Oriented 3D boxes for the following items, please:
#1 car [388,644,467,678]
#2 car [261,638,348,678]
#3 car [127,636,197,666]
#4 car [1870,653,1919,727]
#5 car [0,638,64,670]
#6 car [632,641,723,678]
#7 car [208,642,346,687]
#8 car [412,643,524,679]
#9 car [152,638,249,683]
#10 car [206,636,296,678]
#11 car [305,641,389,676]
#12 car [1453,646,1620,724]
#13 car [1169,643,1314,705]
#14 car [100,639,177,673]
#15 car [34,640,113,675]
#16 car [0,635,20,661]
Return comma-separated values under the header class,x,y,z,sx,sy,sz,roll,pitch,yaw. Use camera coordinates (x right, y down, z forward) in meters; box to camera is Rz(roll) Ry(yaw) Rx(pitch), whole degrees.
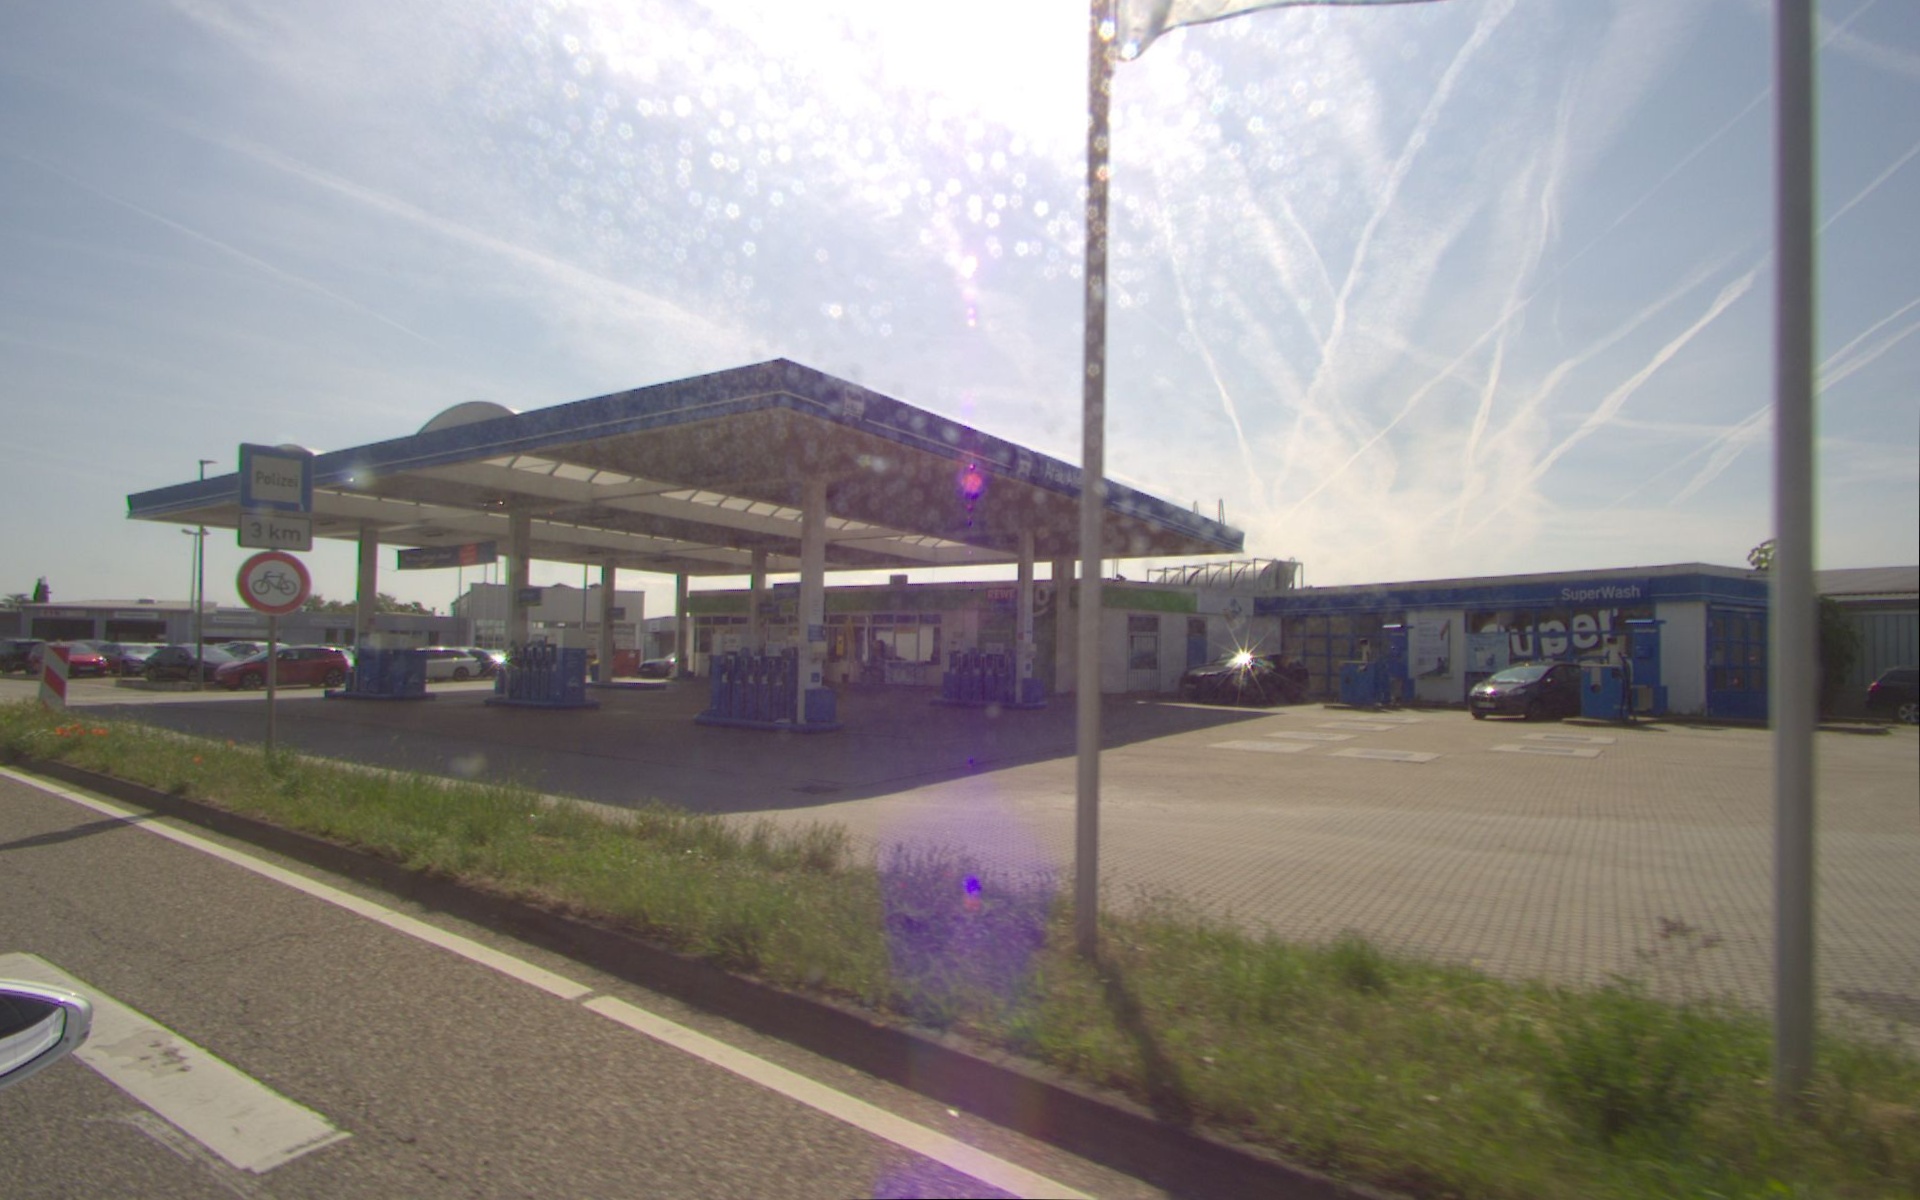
class,x,y,z,sx,sy,sz,roll,pitch,yaw
car,-24.531,2.786,46.093,3.541,1.427,1.557,-1,-1,29
car,-28.814,2.506,44.006,3.802,1.615,1.612,-1,-1,29
car,-40.771,2.582,51.168,3.633,1.427,1.557,-1,-1,29
car,25.804,2.279,24.743,1.866,1.848,4.627,2,-3,-33
car,-43.758,2.506,46.932,3.541,1.427,1.557,-1,-1,29
car,-13.164,2.763,46.857,1.729,1.658,3.981,0,-3,33
car,-25.484,2.374,37.488,1.781,1.592,3.896,0,-2,33
car,-21.612,2.666,44.128,1.540,1.513,4.326,0,-3,29
car,-29.401,2.303,38.769,3.802,1.615,1.612,-1,-1,29
car,-29.409,2.336,41.518,3.802,1.615,1.557,-1,-1,29
car,-27.927,2.642,45.579,3.802,1.462,1.612,-1,-1,29
car,14.925,2.155,25.901,4.111,1.848,1.882,2,-2,-28
car,9.446,2.492,33.471,4.667,1.847,1.896,4,-5,-28
car,-38.167,2.578,46.517,3.541,1.427,1.557,-1,-1,29
car,-39.424,2.522,44.513,3.541,1.427,1.557,-1,-1,29
car,-54.849,2.710,56.576,3.541,1.427,1.557,-1,-1,29
